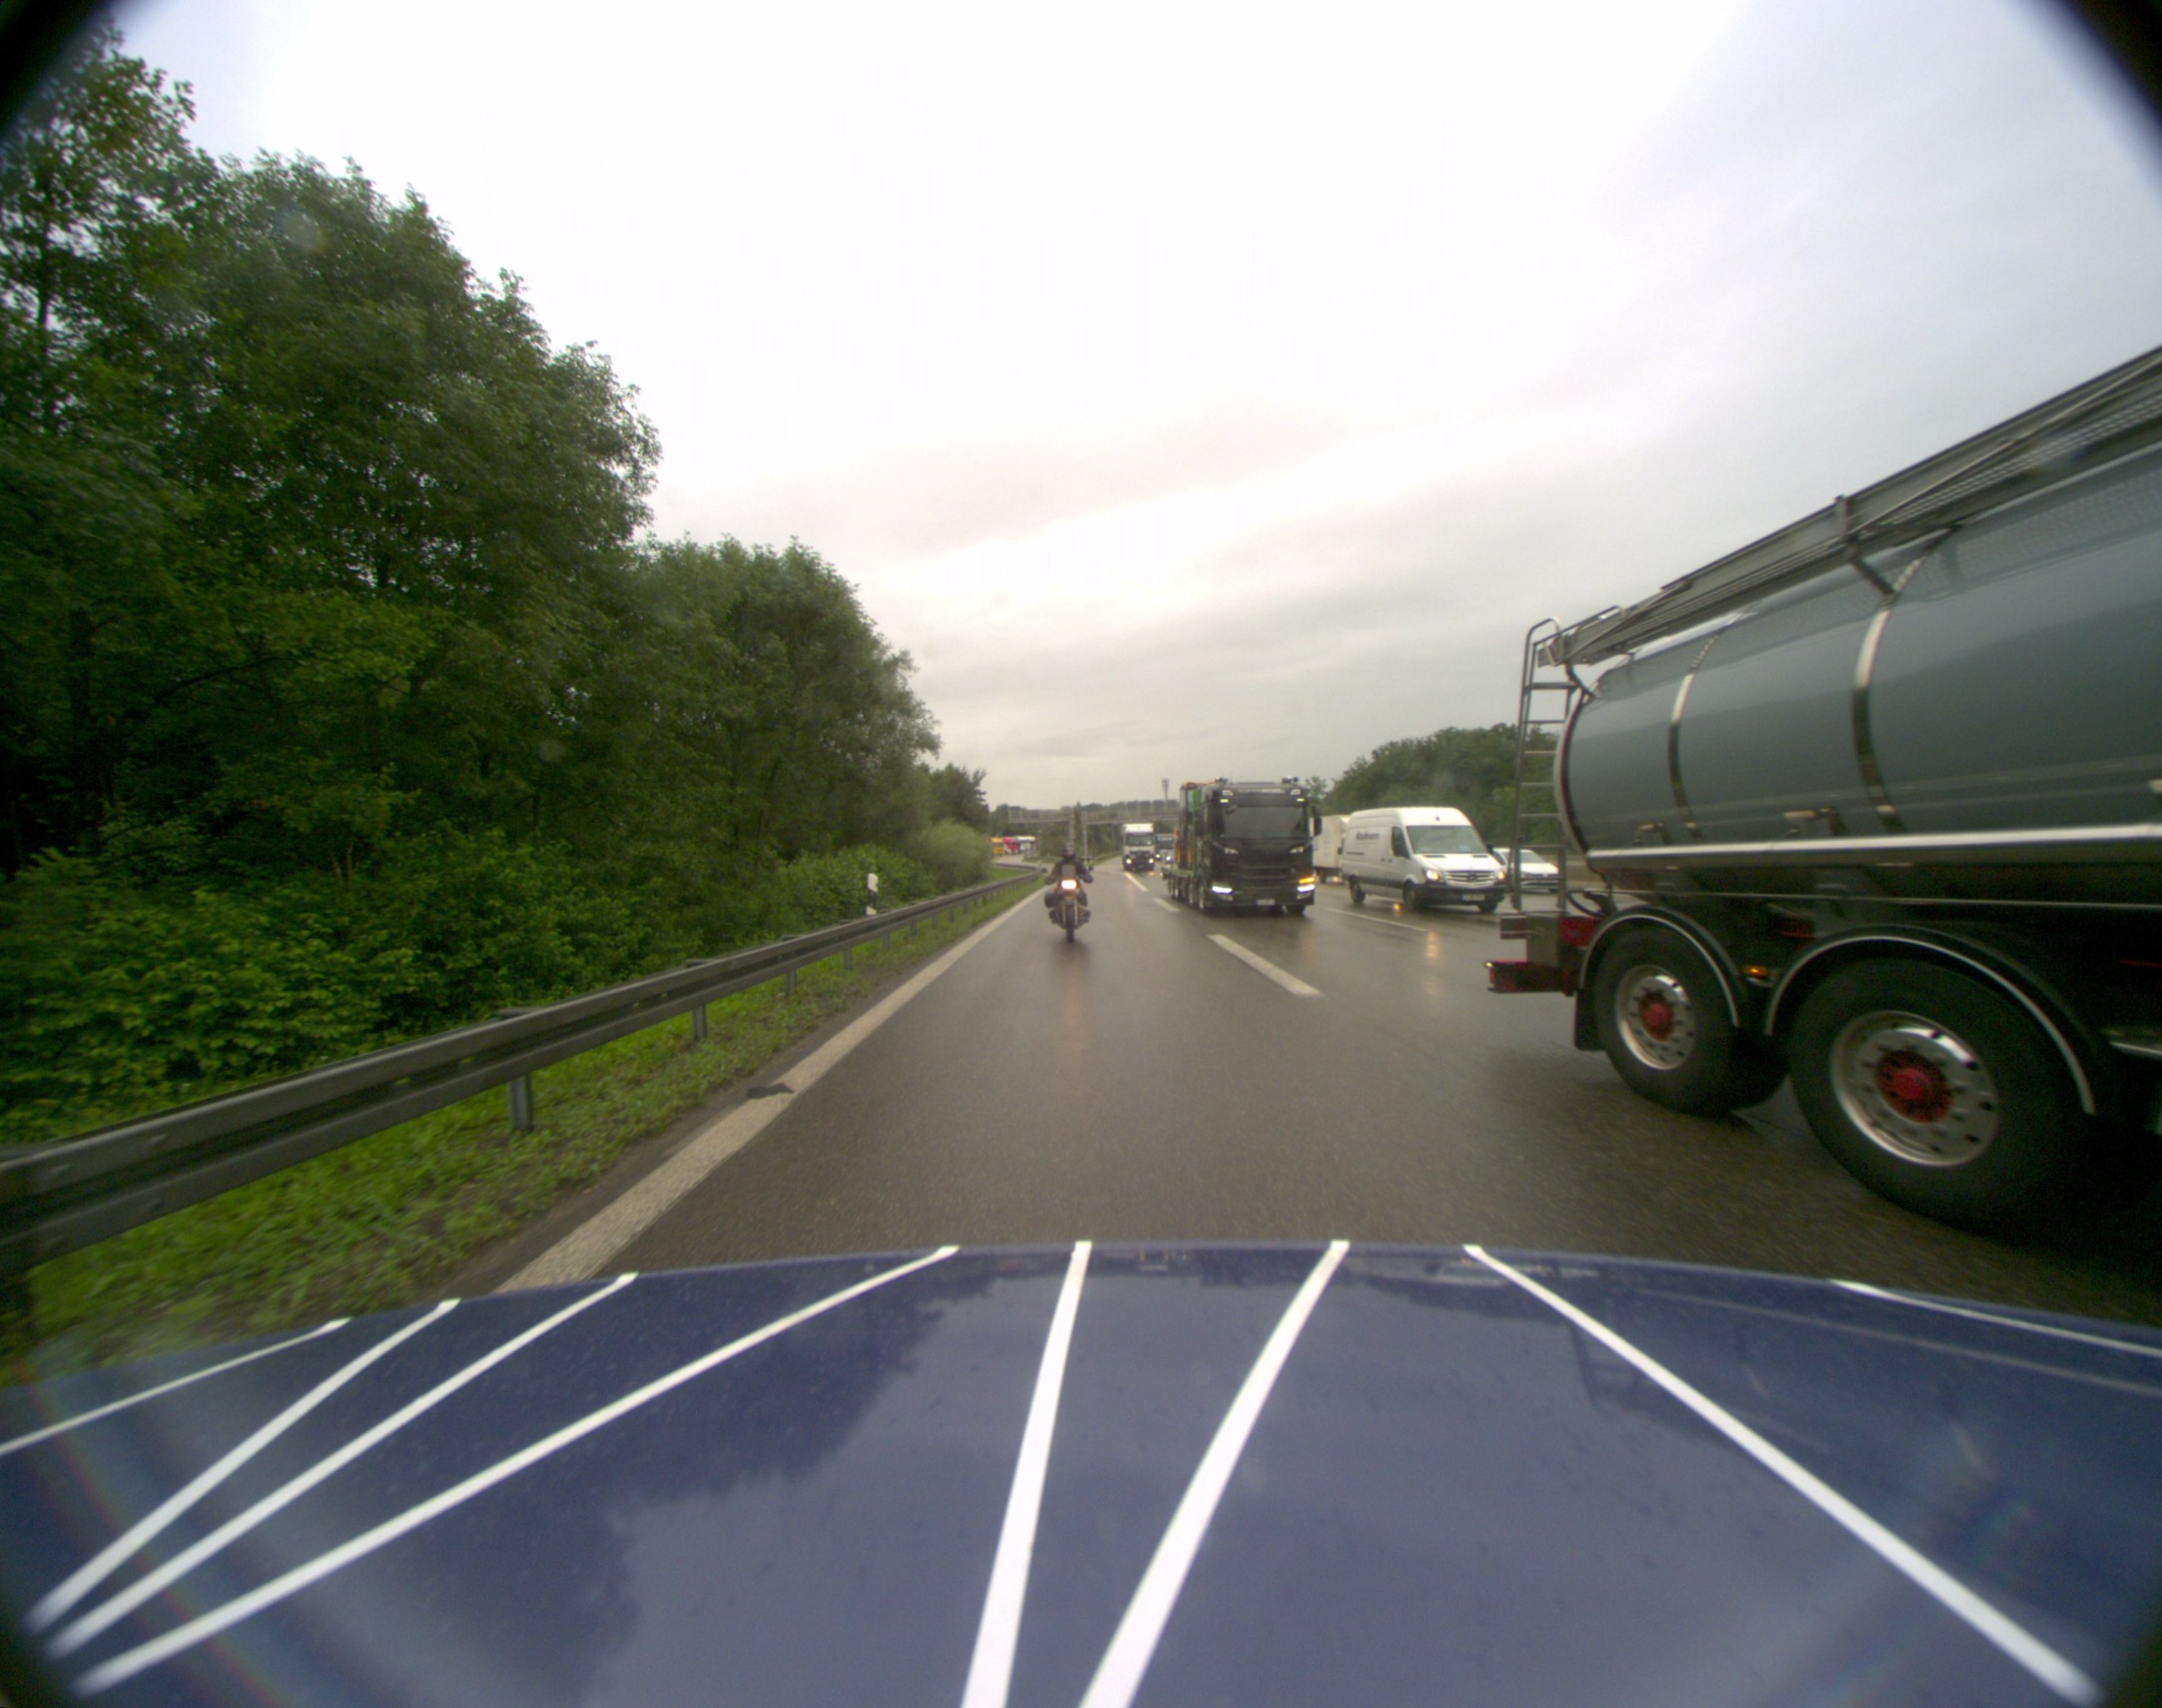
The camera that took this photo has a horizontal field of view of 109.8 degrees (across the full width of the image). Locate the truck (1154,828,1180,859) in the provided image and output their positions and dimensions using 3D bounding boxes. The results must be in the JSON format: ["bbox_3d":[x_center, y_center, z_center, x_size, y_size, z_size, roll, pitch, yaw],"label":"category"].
[{"bbox_3d":[13.018,-1.761,115.681,3.354,4.048,12.572,-5,2,6],"label":"truck"}]

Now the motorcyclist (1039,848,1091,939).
[{"bbox_3d":[-0.269,0.693,14.046,0.878,1.559,1.373,-1,1,1],"label":"motorcyclist"}]

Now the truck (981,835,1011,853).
[{"bbox_3d":[-19.160,-2.350,170.978,2.845,3.897,8.107,-3,3,-38],"label":"truck"}]

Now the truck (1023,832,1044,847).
[{"bbox_3d":[-13.902,-4.242,222.413,3.252,4.362,5.797,-4,3,-42],"label":"truck"}]

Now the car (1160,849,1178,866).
[{"bbox_3d":[10.658,0.426,91.839,1.762,1.762,3.999,-5,2,3],"label":"car"}]

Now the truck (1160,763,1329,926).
[{"bbox_3d":[4.240,-0.281,22.717,2.838,3.568,11.797,-1,1,2],"label":"truck"}]

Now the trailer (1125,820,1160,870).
[{"bbox_3d":[5.779,-0.945,71.900,2.925,4.181,13.636,-1,1,4],"label":"trailer"}]

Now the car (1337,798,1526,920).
[{"bbox_3d":[8.663,0.056,19.572,2.221,2.614,5.843,-2,1,1],"label":"car"}]

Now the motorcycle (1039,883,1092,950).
[{"bbox_3d":[-0.254,1.117,14.194,0.878,1.016,2.352,-1,1,1],"label":"motorcycle"}]

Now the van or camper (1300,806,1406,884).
[{"bbox_3d":[12.371,-0.421,35.257,2.585,3.186,7.130,-2,1,2],"label":"van or camper"}]

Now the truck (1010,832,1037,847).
[{"bbox_3d":[-16.310,-4.085,213.734,3.252,4.069,7.915,-3,3,-42],"label":"truck"}]

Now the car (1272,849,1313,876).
[{"bbox_3d":[16.693,0.656,60.148,1.998,2.002,4.216,-1,0,0],"label":"car"}]

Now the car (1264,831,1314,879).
[{"bbox_3d":[13.356,-0.002,49.081,1.998,2.819,3.998,-5,2,1],"label":"car"}]

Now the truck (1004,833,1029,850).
[{"bbox_3d":[-16.095,-3.103,189.573,2.905,3.897,6.537,-3,3,-42],"label":"truck"}]

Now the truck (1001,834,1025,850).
[{"bbox_3d":[-16.455,-2.882,184.526,3.252,3.897,5.007,-3,3,-42],"label":"truck"}]

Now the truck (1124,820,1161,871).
[{"bbox_3d":[5.309,-0.792,65.753,2.925,4.076,6.719,-1,1,4],"label":"truck"}]

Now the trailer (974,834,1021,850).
[{"bbox_3d":[-20.960,-2.971,189.530,3.252,3.897,14.788,-3,3,-42],"label":"trailer"}]

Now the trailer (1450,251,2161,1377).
[{"bbox_3d":[4.595,-0.129,1.249,2.881,3.269,10.076,-2,0,-1],"label":"trailer"}]

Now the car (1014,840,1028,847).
[{"bbox_3d":[-16.338,-2.829,207.014,1.851,1.848,3.989,-4,3,-40],"label":"car"}]

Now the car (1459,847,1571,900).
[{"bbox_3d":[15.514,0.644,27.447,1.778,1.745,4.000,-1,0,0],"label":"car"}]

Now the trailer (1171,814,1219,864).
[{"bbox_3d":[9.704,-1.281,66.021,2.633,3.842,13.676,-1,1,3],"label":"trailer"}]

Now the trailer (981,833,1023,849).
[{"bbox_3d":[-20.420,-3.208,194.309,2.881,3.897,13.895,-3,3,-42],"label":"trailer"}]

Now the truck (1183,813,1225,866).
[{"bbox_3d":[9.349,-1.074,58.215,2.633,3.842,4.589,-1,1,3],"label":"truck"}]
